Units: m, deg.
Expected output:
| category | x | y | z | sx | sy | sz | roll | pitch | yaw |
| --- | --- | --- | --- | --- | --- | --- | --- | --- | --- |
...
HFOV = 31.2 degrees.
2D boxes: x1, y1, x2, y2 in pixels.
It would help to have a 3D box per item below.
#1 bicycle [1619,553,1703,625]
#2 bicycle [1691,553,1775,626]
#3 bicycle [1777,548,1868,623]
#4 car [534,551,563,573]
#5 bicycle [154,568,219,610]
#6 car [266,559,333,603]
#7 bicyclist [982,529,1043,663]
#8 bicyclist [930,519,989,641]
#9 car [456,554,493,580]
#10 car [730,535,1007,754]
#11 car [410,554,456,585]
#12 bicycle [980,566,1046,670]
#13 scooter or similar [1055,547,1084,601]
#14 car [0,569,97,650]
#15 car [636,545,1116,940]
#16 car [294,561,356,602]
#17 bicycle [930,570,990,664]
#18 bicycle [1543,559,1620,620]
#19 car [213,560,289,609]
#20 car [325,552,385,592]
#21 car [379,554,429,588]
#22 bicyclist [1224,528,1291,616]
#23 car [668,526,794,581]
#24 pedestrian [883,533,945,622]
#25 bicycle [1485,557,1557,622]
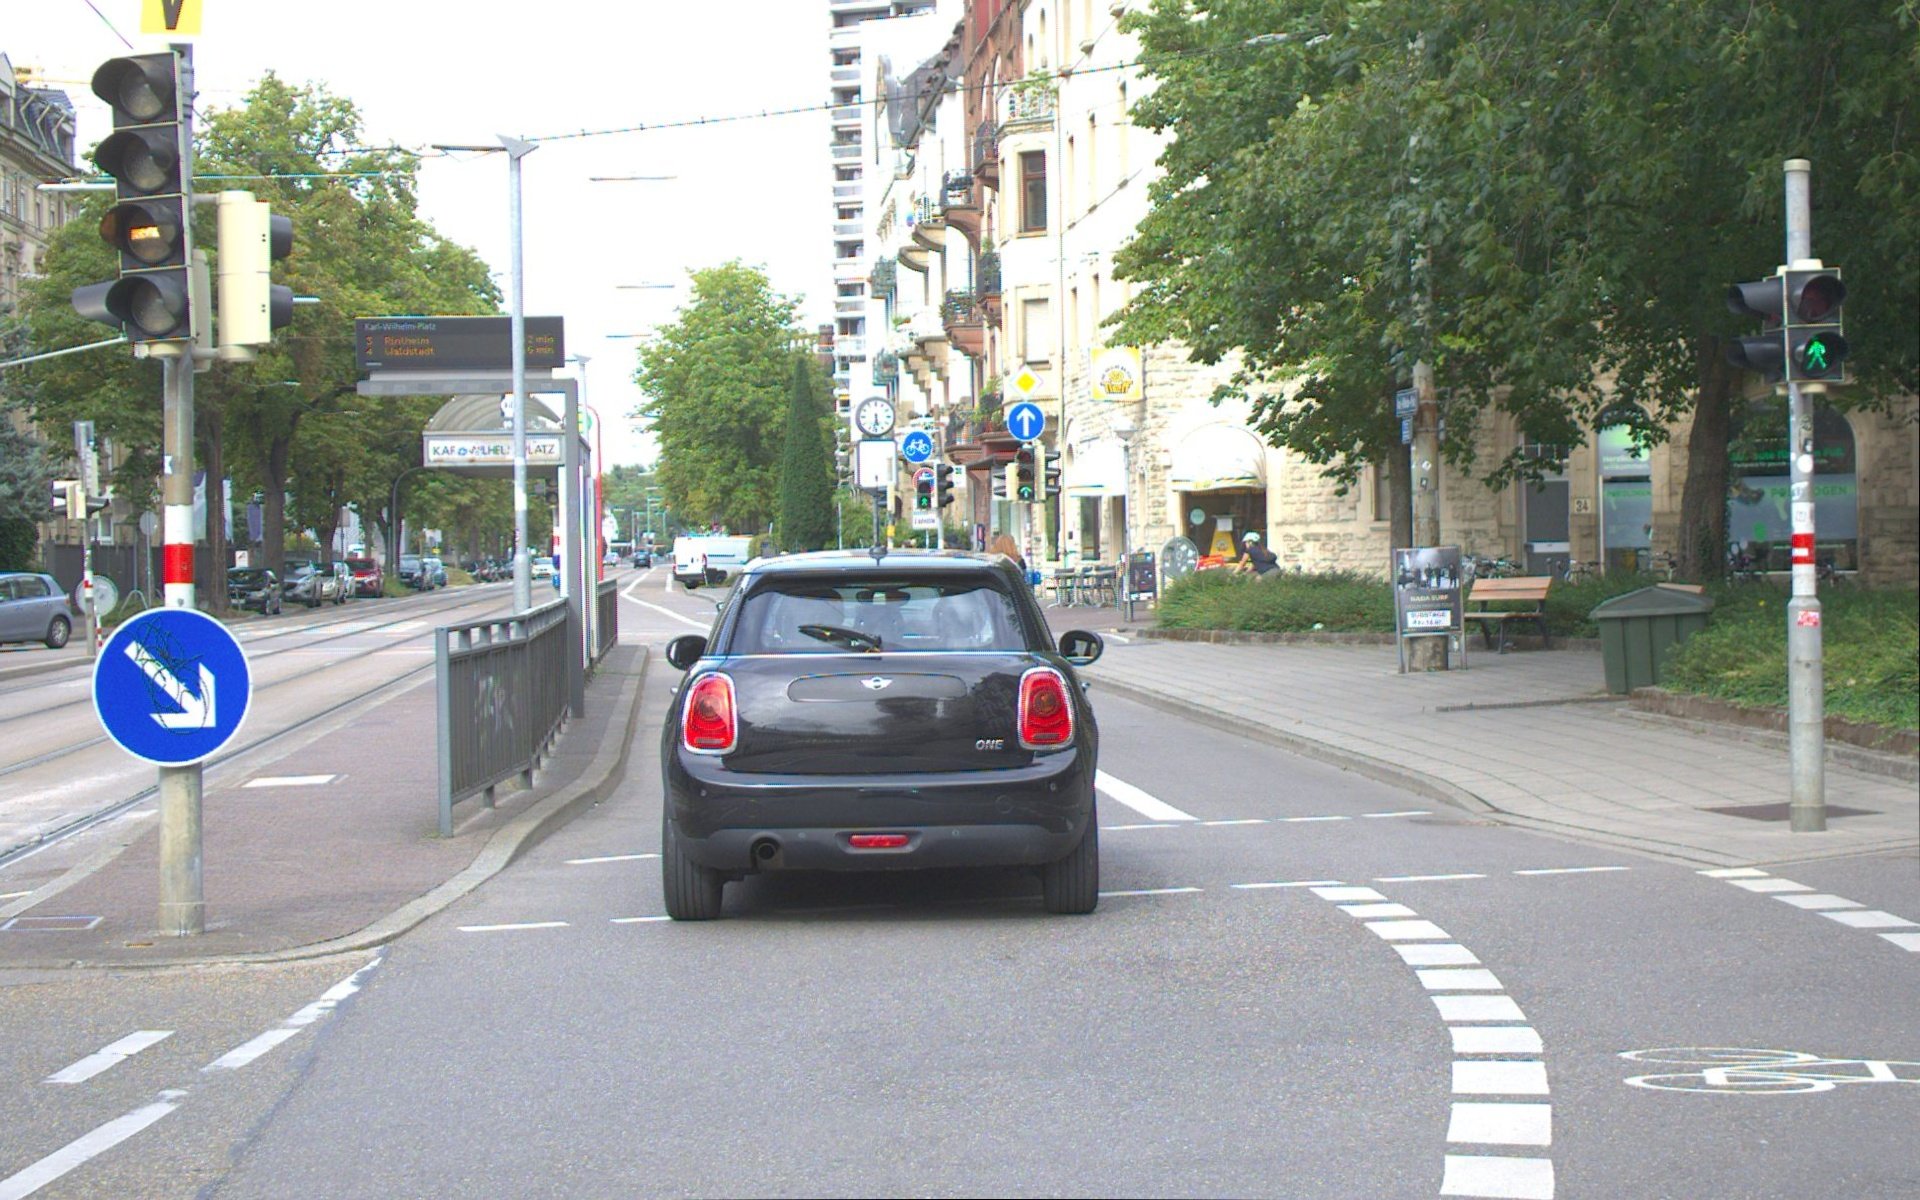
| category | x | y | z | sx | sy | sz | roll | pitch | yaw |
| --- | --- | --- | --- | --- | --- | --- | --- | --- | --- |
| bicycle | 11.379 | -0.188 | 55.769 | 0.532 | 1.124 | 1.890 | -1 | 1 | 38 |
| bicycle | 12.371 | -0.177 | 54.974 | 0.532 | 1.124 | 1.890 | -1 | 1 | 38 |
| bicycle | 13.507 | -0.231 | 53.828 | 0.667 | 1.124 | 1.890 | -1 | 1 | 38 |
| car | -27.317 | -2.535 | 228.350 | 1.766 | 1.390 | 4.001 | -1 | 1 | -5 |
| bicycle | -21.486 | -0.298 | 95.518 | 1.667 | 1.115 | 0.572 | -3 | 2 | -43 |
| car | -22.063 | -0.655 | 114.972 | 1.766 | 1.390 | 4.001 | -1 | 1 | -5 |
| bicyclist | 0.610 | -0.051 | 40.510 | 0.594 | 1.545 | 1.014 | -2 | 1 | -4 |
| bicyclist | -0.010 | -0.270 | 44.854 | 0.684 | 1.558 | 0.998 | -1 | 1 | -2 |
| car | -30.614 | -2.103 | 216.836 | 1.993 | 1.546 | 4.001 | -1 | 1 | -4 |
| car | -0.727 | 0.285 | 26.310 | 1.926 | 1.504 | 4.001 | -1 | 1 | -2 |
| car | -27.691 | -1.594 | 180.722 | 1.993 | 1.546 | 4.001 | -1 | 1 | -4 |
| bicycle | 0.617 | 0.198 | 40.518 | 0.598 | 1.166 | 1.697 | -2 | 1 | -4 |
| scooter or similar | 2.464 | -0.596 | 77.493 | 0.508 | 1.184 | 1.262 | -2 | 1 | -4 |
| car | -17.550 | 0.147 | 64.738 | 1.751 | 1.436 | 4.001 | 1 | 1 | -3 |
| car | -0.327 | 0.493 | 14.634 | 1.751 | 1.436 | 4.000 | 1 | 1 | 0 |
| car | -22.648 | -0.669 | 122.677 | 1.766 | 1.390 | 4.001 | -1 | 1 | -5 |
| bicycle | -0.004 | 0.209 | 44.919 | 0.684 | 1.166 | 1.697 | -1 | 1 | -2 |
| bicycle | 10.324 | -0.171 | 57.076 | 0.532 | 0.969 | 1.646 | -1 | 1 | 38 |
| car | -21.217 | -0.468 | 103.026 | 1.766 | 1.390 | 4.001 | -1 | 1 | -5 |
| car | -24.919 | -1.170 | 141.611 | 1.993 | 1.546 | 4.001 | -1 | 1 | -4 |
| car | -26.602 | -1.417 | 164.523 | 1.993 | 1.546 | 4.001 | -1 | 1 | -4 |
| bicyclist | 5.045 | -0.471 | 58.258 | 0.914 | 1.468 | 0.615 | -1 | 1 | 36 |
| car | -9.841 | -2.013 | 148.167 | 5.026 | 2.265 | 2.395 | -2 | 1 | -45 |
| pedestrian | -0.911 | -0.448 | 68.323 | 0.732 | 1.668 | 0.833 | -3 | 2 | 42 |
| bicycle | 9.443 | -0.188 | 57.859 | 0.449 | 1.051 | 1.646 | -1 | 1 | 38 |
